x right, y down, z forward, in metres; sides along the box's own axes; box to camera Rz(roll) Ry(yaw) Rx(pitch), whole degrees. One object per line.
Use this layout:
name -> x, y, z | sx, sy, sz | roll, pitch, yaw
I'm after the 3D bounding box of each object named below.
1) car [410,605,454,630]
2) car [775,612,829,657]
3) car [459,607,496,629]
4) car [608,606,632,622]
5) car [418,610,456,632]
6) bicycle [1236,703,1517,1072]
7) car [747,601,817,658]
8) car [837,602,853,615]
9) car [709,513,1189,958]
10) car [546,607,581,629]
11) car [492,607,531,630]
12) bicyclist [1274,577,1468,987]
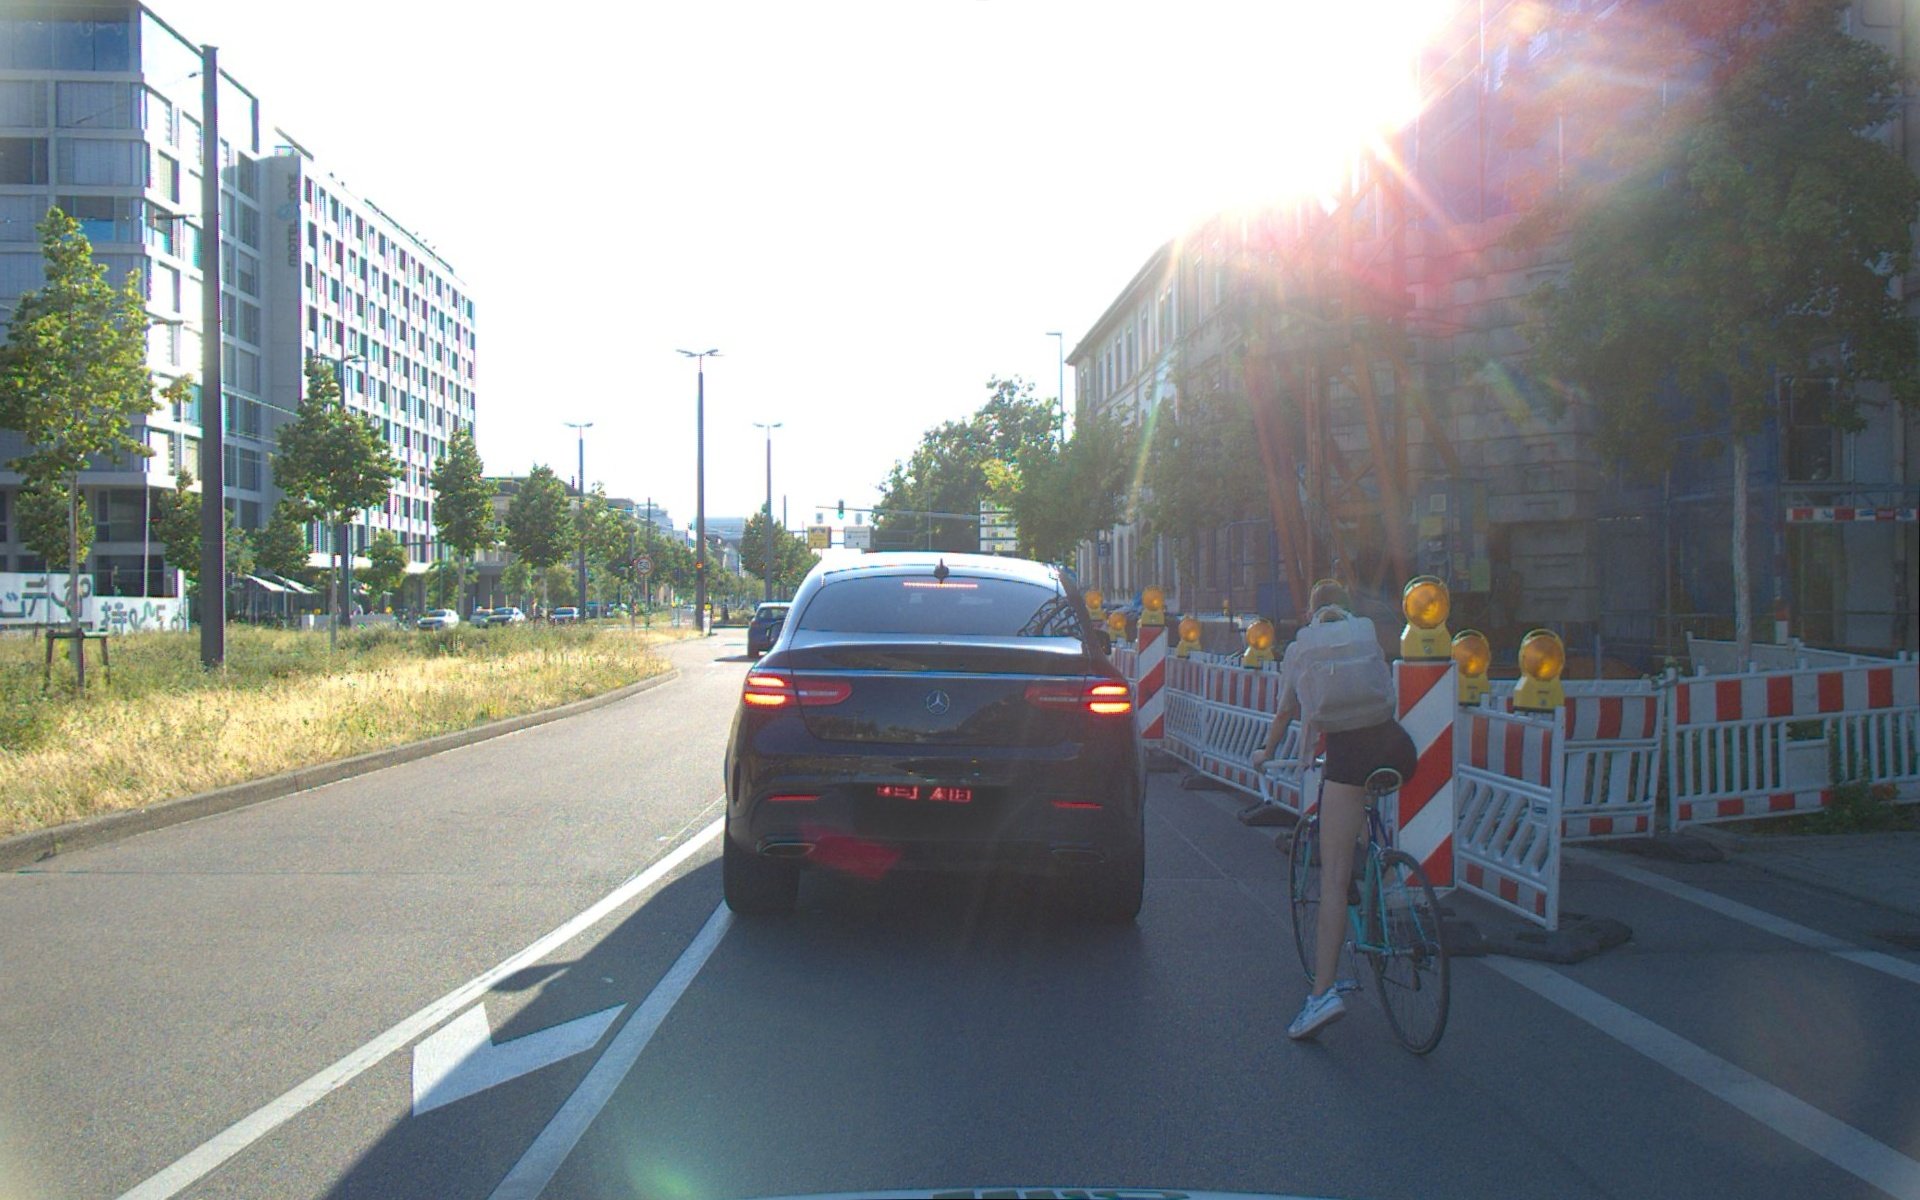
car -> -32.873, 1.091, 103.068 | 1.674, 1.467, 3.580 | 1, 0, -3
car -> -5.400, 1.153, 56.888 | 1.674, 1.467, 3.580 | 1, 0, -3
car -> -34.042, 1.263, 116.754 | 1.674, 1.467, 3.580 | 1, 0, -3
car -> -32.223, 1.330, 156.642 | 1.674, 1.467, 3.580 | 1, 0, -3
car -> -36.978, 1.467, 117.005 | 1.674, 1.467, 3.580 | 1, 0, -3
bicycle -> 1.477, 0.973, 6.142 | 0.502, 1.070, 1.724 | 1, 0, -3
car -> -4.778, 0.768, 44.771 | 1.674, 1.467, 3.580 | 1, 0, -3
car -> -12.760, 0.922, 183.197 | 1.674, 1.467, 3.580 | 1, 0, -3
car -> -0.070, 0.570, 8.827 | 1.953, 1.803, 3.999 | 1, 0, -1
car -> -27.406, 1.236, 114.447 | 1.674, 1.467, 3.580 | 1, 0, -3
car -> -29.252, 1.176, 107.966 | 1.674, 1.467, 3.580 | 1, 0, -3
bicyclist -> 1.491, 0.636, 6.063 | 0.512, 1.420, 0.614 | 1, -1, -4
